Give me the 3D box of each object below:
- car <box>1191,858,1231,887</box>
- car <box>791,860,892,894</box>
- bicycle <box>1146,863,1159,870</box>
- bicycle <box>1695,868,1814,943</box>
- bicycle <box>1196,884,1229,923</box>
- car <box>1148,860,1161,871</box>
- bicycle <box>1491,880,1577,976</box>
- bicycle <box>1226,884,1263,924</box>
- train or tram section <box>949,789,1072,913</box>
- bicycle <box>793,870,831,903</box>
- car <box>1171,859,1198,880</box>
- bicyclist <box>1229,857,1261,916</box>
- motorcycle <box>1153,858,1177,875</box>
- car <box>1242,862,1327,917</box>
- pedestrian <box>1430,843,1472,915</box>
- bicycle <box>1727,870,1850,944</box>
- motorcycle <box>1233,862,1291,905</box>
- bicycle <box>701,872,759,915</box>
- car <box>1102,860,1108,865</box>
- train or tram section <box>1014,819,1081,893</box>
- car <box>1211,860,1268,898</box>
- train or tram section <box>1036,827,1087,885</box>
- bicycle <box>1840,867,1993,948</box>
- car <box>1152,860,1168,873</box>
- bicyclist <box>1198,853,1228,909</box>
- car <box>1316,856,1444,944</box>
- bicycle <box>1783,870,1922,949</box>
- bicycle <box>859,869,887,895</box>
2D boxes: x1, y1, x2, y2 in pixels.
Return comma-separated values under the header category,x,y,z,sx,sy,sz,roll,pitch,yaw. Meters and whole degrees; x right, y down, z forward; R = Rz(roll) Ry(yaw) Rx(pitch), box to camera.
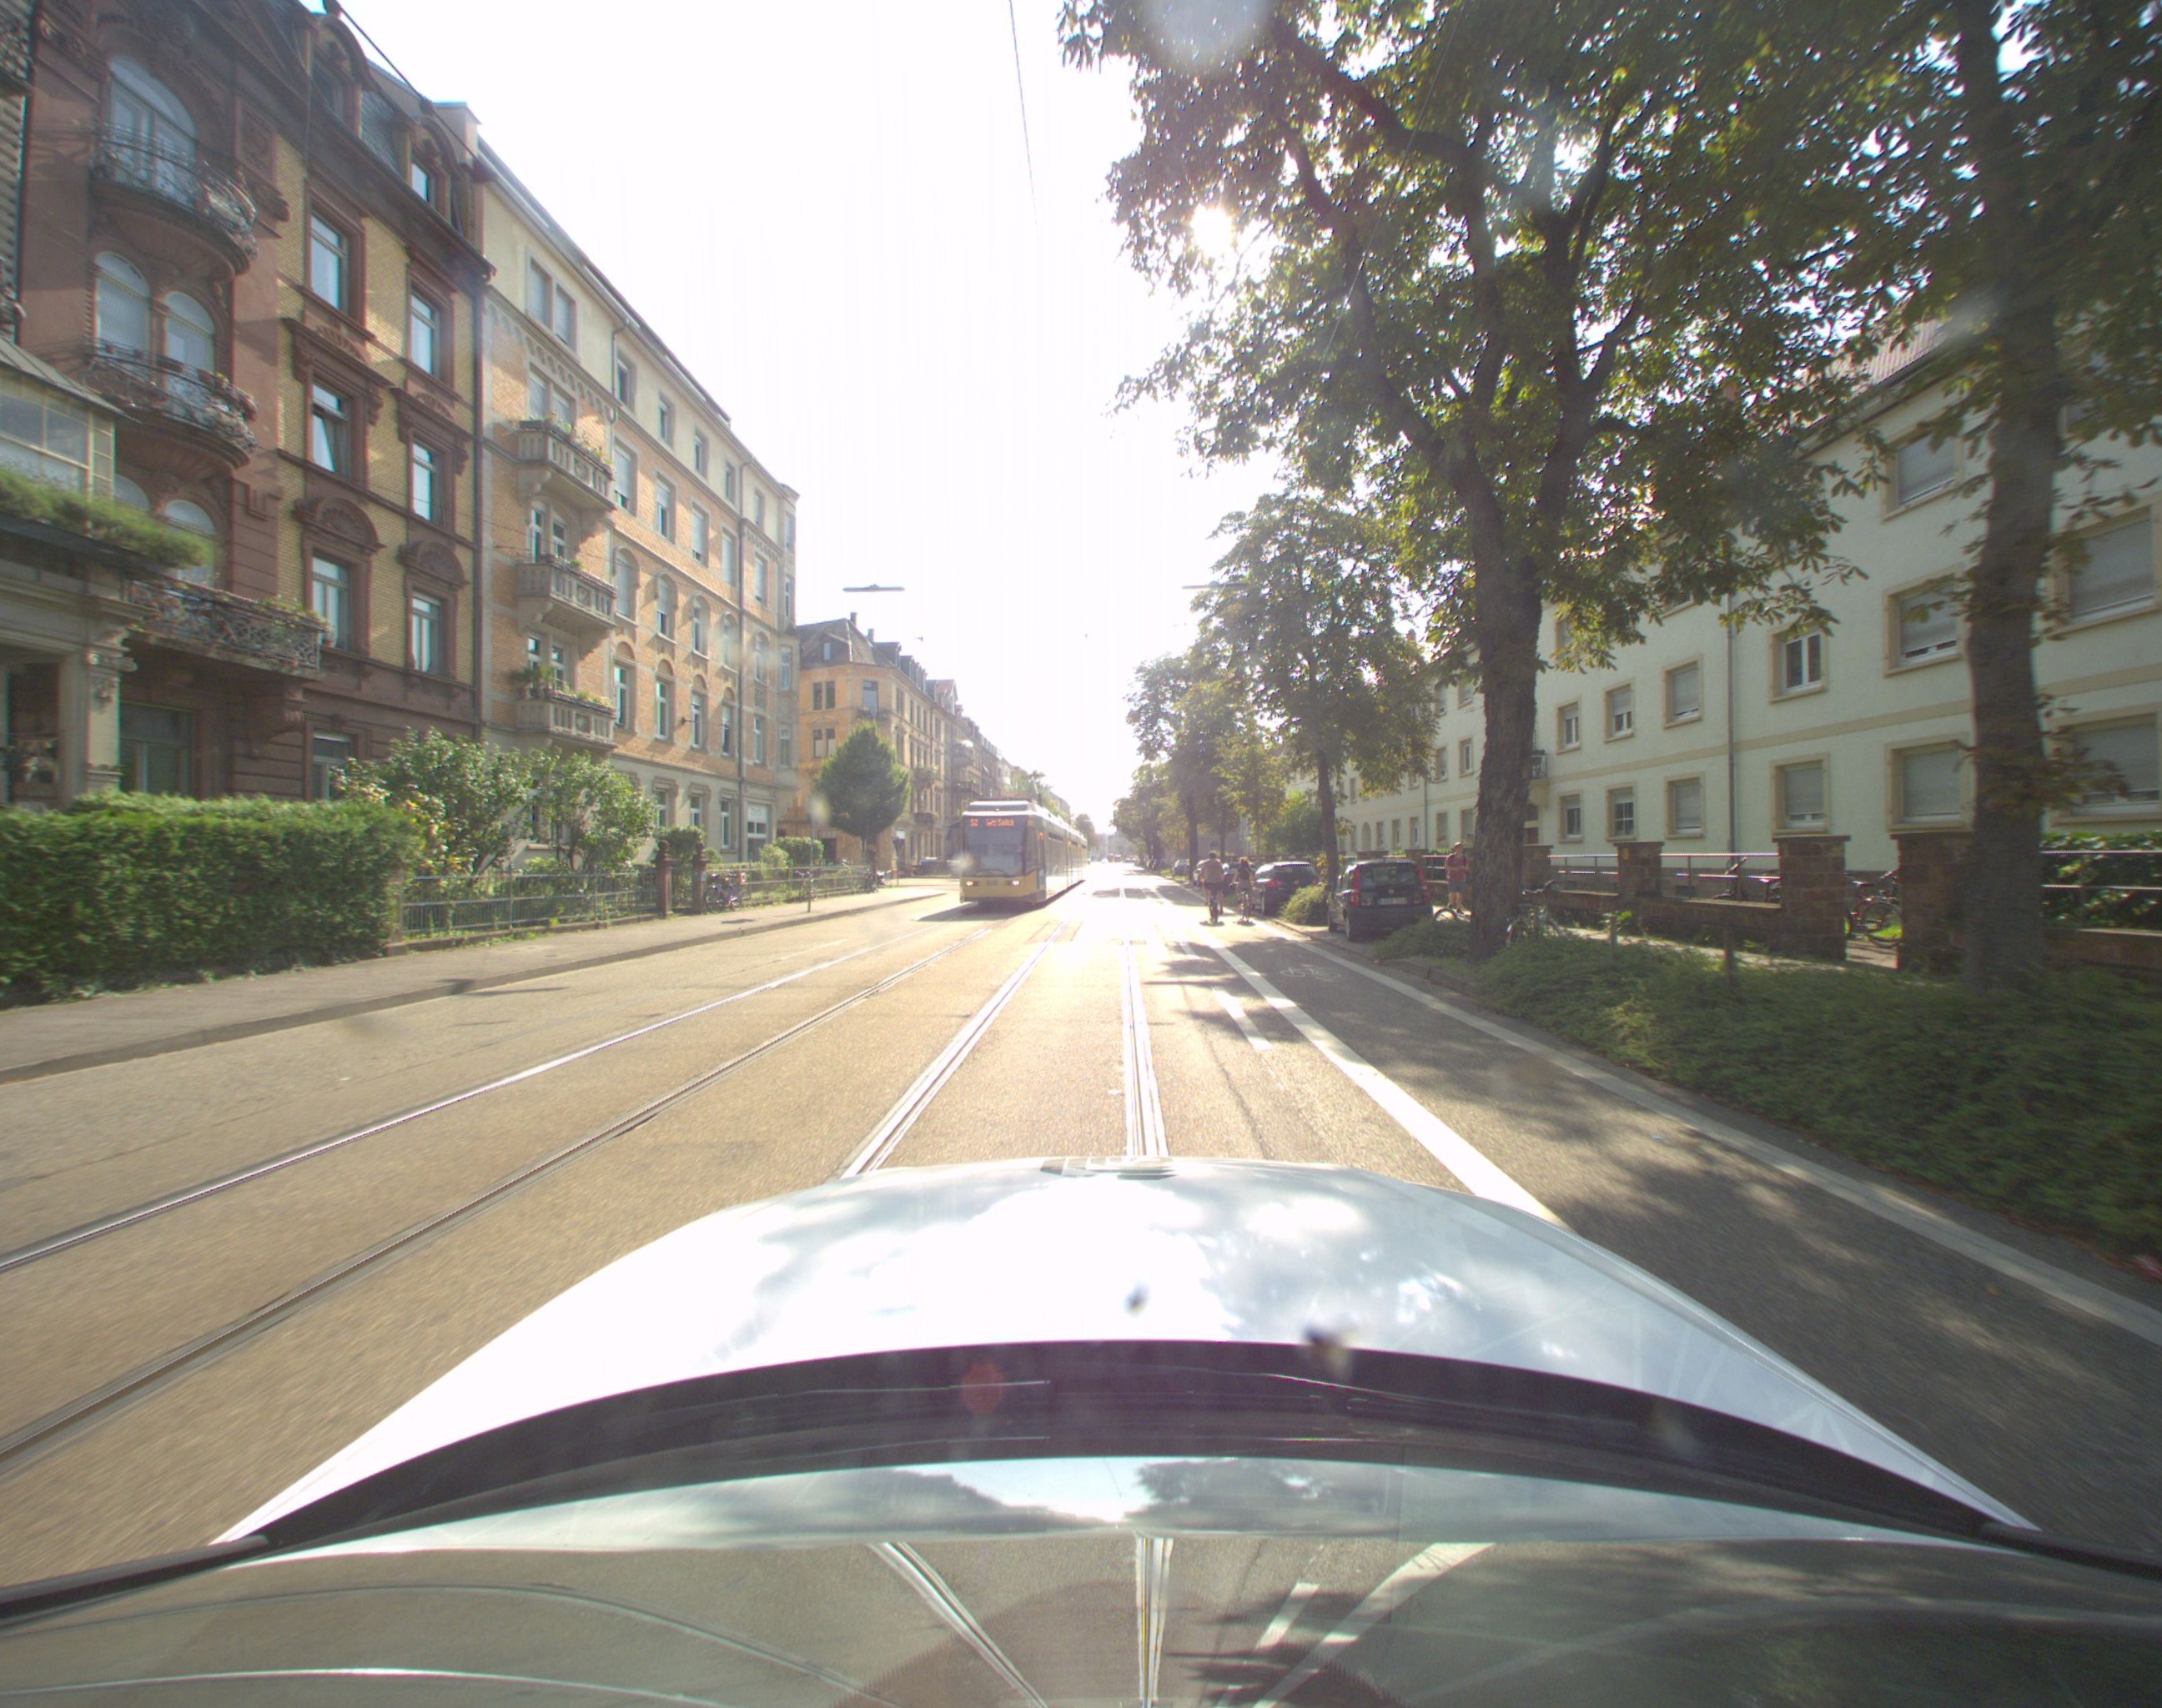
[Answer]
category,x,y,z,sx,sy,sz,roll,pitch,yaw
car,7.254,1.020,45.810,1.683,1.502,4.098,-3,-1,2
car,-11.314,1.073,38.688,4.121,1.543,2.065,0,-1,1
bicycle,11.427,2.017,130.283,2.099,1.105,0.616,-2,-1,1
bicycle,10.467,0.770,12.732,0.521,1.073,1.730,0,-1,4
bicycle,3.380,1.252,20.997,0.624,0.909,1.525,1,-1,2
car,10.818,1.696,119.818,1.764,1.473,3.977,-1,-1,3
bicycle,5.730,0.886,10.266,0.519,1.073,1.738,-1,-1,44
bicycle,4.244,1.281,21.224,0.652,0.909,1.775,1,-1,2
train or tram section,-2.093,-0.046,30.810,2.724,3.506,15.440,0,0,2
bicycle,-9.267,1.108,28.120,0.542,1.058,1.841,3,0,4
car,8.151,1.187,64.500,1.736,1.561,4.722,-1,-1,3
bicyclist,4.262,0.838,21.214,0.652,1.474,0.909,1,-1,2
motorcycle,8.975,1.329,86.990,0.919,1.674,2.390,-2,0,-43
car,5.987,0.988,24.402,1.638,1.448,4.249,-2,-1,3
pedestrian,9.209,0.603,20.295,0.748,1.749,0.880,0,-1,9
bicycle,11.082,0.797,12.837,0.521,1.073,1.730,0,-1,4
motorcycle,6.365,1.036,28.677,1.848,1.289,0.705,-4,4,-1
bicycle,-9.530,1.064,22.188,0.604,1.058,1.841,3,0,4
car,7.841,2.693,260.986,1.718,1.638,3.989,-1,-1,5
train or tram section,-1.583,0.123,43.897,2.724,3.506,10.781,0,0,2
car,6.773,1.017,35.126,1.683,1.435,4.339,-3,0,2
train or tram section,-1.130,0.183,54.650,2.724,3.506,10.781,0,0,2
bicycle,12.037,0.730,11.815,0.521,1.073,1.730,0,-1,4
car,9.988,1.540,102.802,1.720,1.504,3.987,-2,-1,3
bicyclist,3.396,0.693,21.014,0.624,1.401,0.930,1,-1,2
car,5.963,0.847,16.659,1.636,1.540,3.850,-2,-1,8
bicycle,11.509,0.789,12.225,0.521,1.073,1.730,0,-1,4
bicycle,-8.951,1.193,35.143,0.542,1.058,1.841,3,0,4
